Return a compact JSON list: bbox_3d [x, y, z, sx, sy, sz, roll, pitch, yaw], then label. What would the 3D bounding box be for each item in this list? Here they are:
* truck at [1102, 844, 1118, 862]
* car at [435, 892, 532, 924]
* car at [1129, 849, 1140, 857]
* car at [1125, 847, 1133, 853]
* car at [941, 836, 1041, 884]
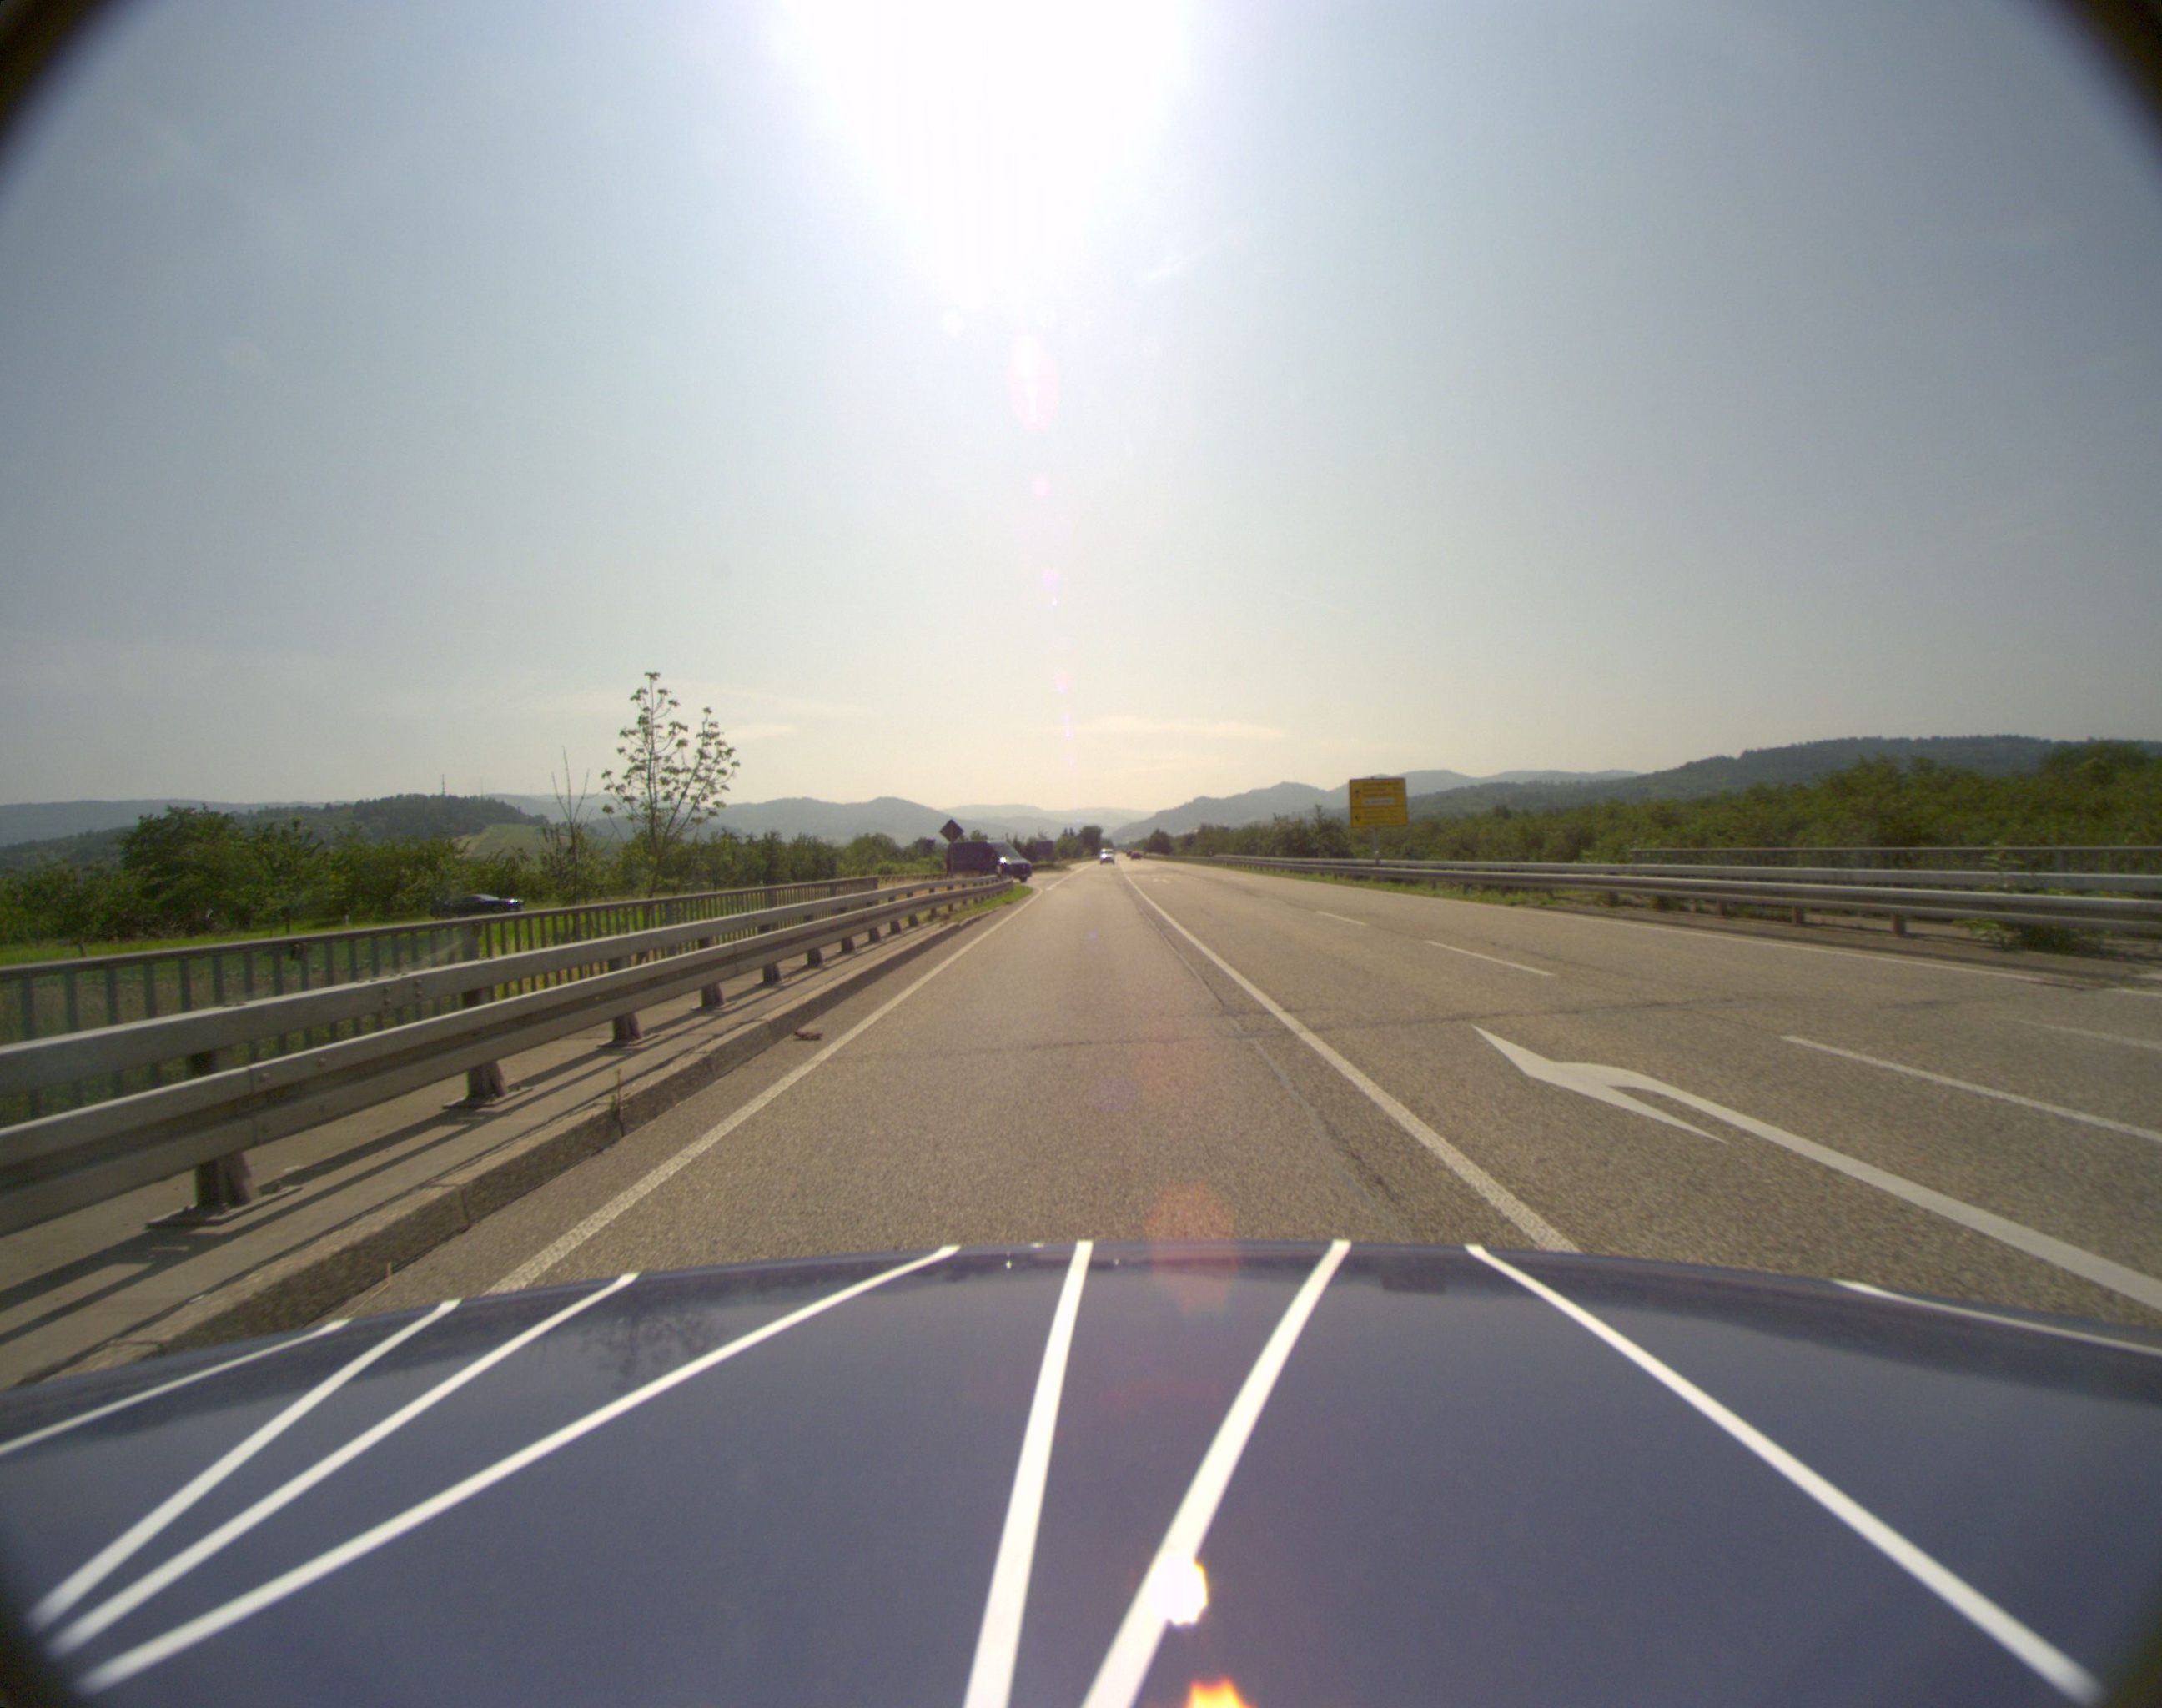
[{"bbox_3d":[3.815,-0.157,101.420,2.031,2.232,4.765,-3,1,2],"label":"truck"},{"bbox_3d":[-40.426,3.645,51.521,4.674,1.687,1.997,-3,3,-9],"label":"car"},{"bbox_3d":[9.942,-0.162,141.458,1.820,1.441,4.495,-3,1,1],"label":"car"},{"bbox_3d":[13.704,-1.025,216.353,1.808,1.628,4.809,-3,1,1],"label":"car"},{"bbox_3d":[-5.473,0.384,45.586,6.295,2.560,2.066,-3,1,40],"label":"car"}]
